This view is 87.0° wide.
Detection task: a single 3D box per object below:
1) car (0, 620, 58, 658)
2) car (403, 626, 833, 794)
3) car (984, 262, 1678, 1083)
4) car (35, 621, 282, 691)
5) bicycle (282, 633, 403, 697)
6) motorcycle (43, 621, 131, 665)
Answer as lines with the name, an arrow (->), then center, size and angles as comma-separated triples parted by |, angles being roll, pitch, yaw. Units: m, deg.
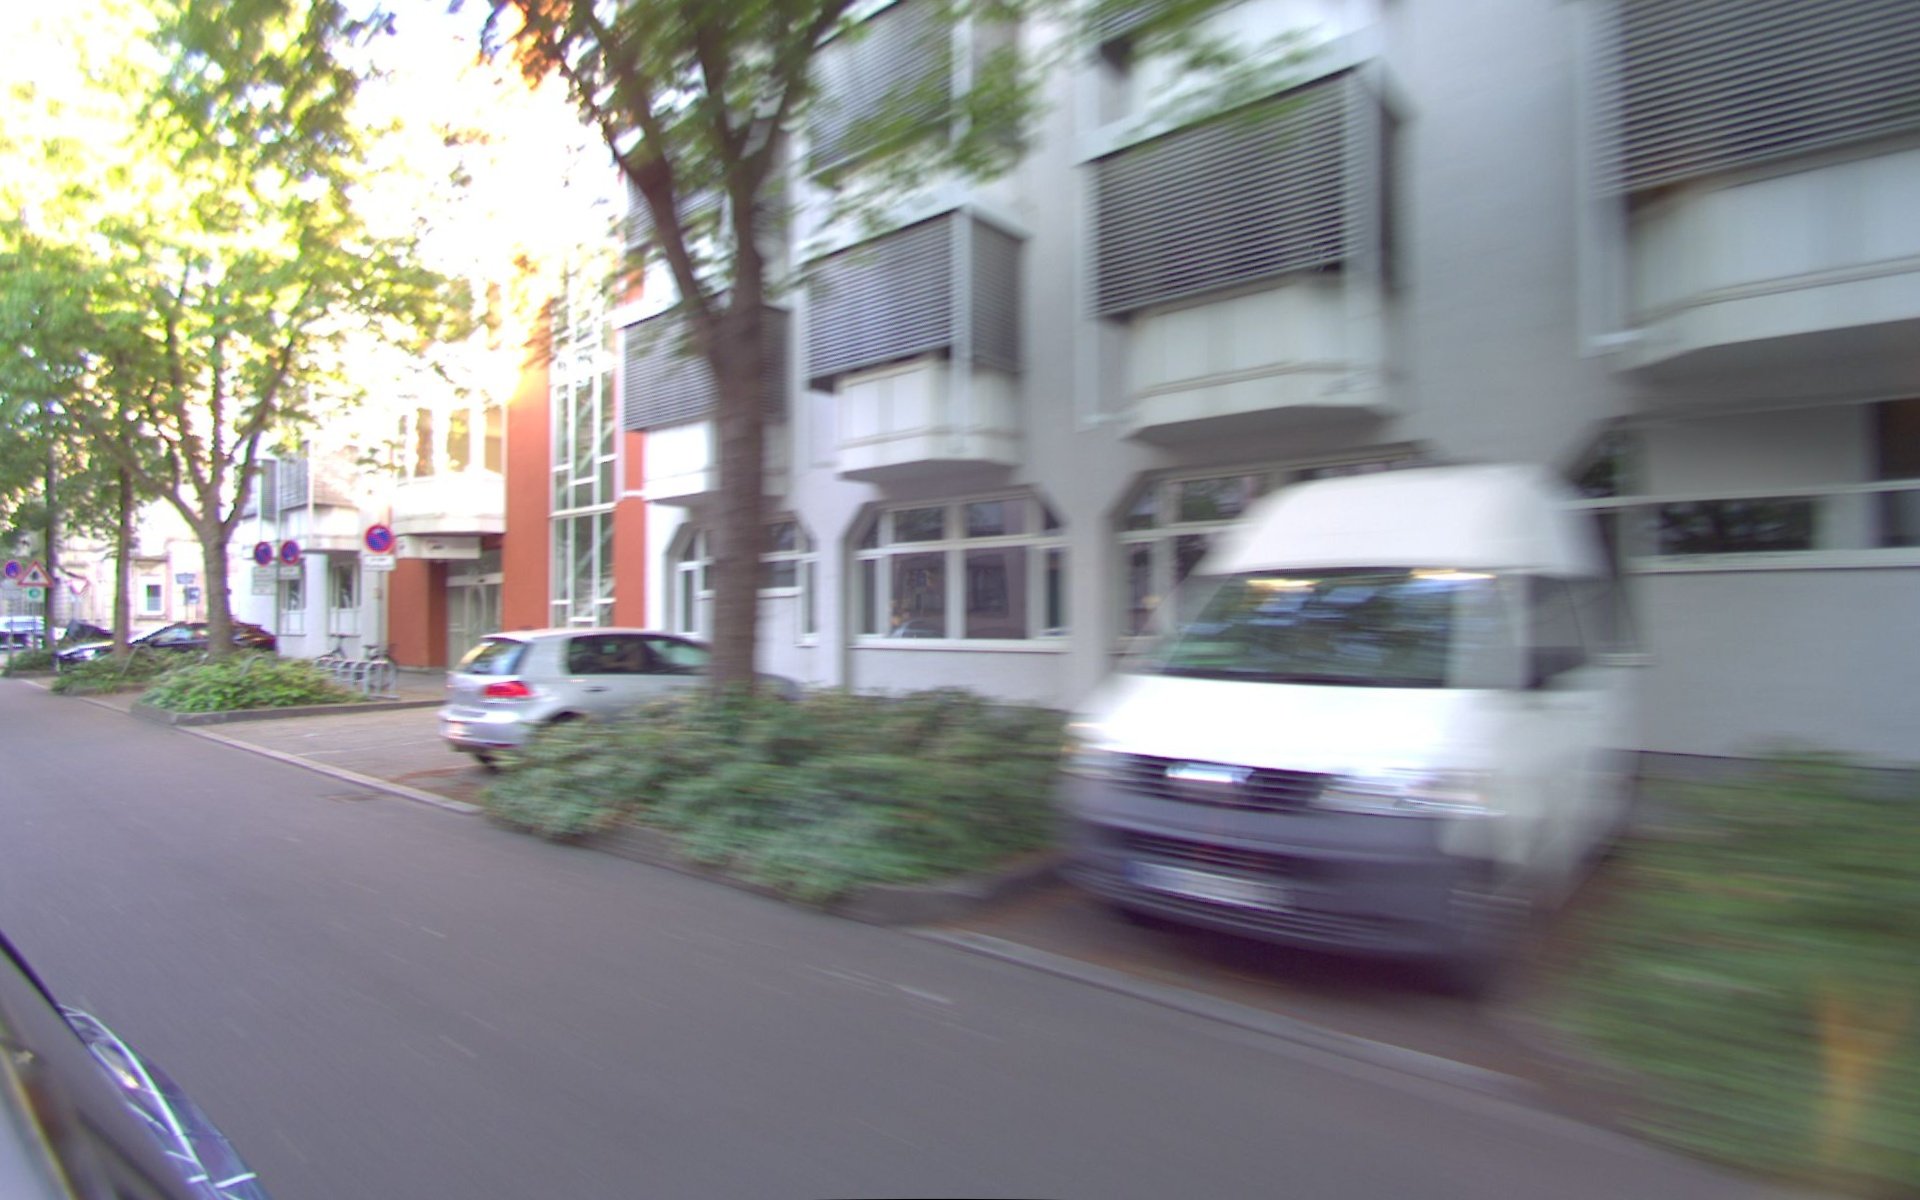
car -> -45.784, 1.832, 47.870 | 4.538, 1.748, 2.142 | 1, -2, -44
car -> -3.612, 1.043, 11.262 | 1.952, 1.480, 4.124 | -1, -2, 41
car -> 2.517, 0.268, 5.785 | 2.119, 2.592, 4.952 | -1, -2, 41
car -> -19.500, 1.295, 24.788 | 1.870, 1.537, 4.463 | -1, -2, 40
bicycle -> -12.128, 1.252, 19.943 | 0.654, 1.185, 1.942 | -1, -2, 34
motorcycle -> -30.815, 1.498, 35.763 | 0.895, 1.481, 2.218 | -1, -2, 18
